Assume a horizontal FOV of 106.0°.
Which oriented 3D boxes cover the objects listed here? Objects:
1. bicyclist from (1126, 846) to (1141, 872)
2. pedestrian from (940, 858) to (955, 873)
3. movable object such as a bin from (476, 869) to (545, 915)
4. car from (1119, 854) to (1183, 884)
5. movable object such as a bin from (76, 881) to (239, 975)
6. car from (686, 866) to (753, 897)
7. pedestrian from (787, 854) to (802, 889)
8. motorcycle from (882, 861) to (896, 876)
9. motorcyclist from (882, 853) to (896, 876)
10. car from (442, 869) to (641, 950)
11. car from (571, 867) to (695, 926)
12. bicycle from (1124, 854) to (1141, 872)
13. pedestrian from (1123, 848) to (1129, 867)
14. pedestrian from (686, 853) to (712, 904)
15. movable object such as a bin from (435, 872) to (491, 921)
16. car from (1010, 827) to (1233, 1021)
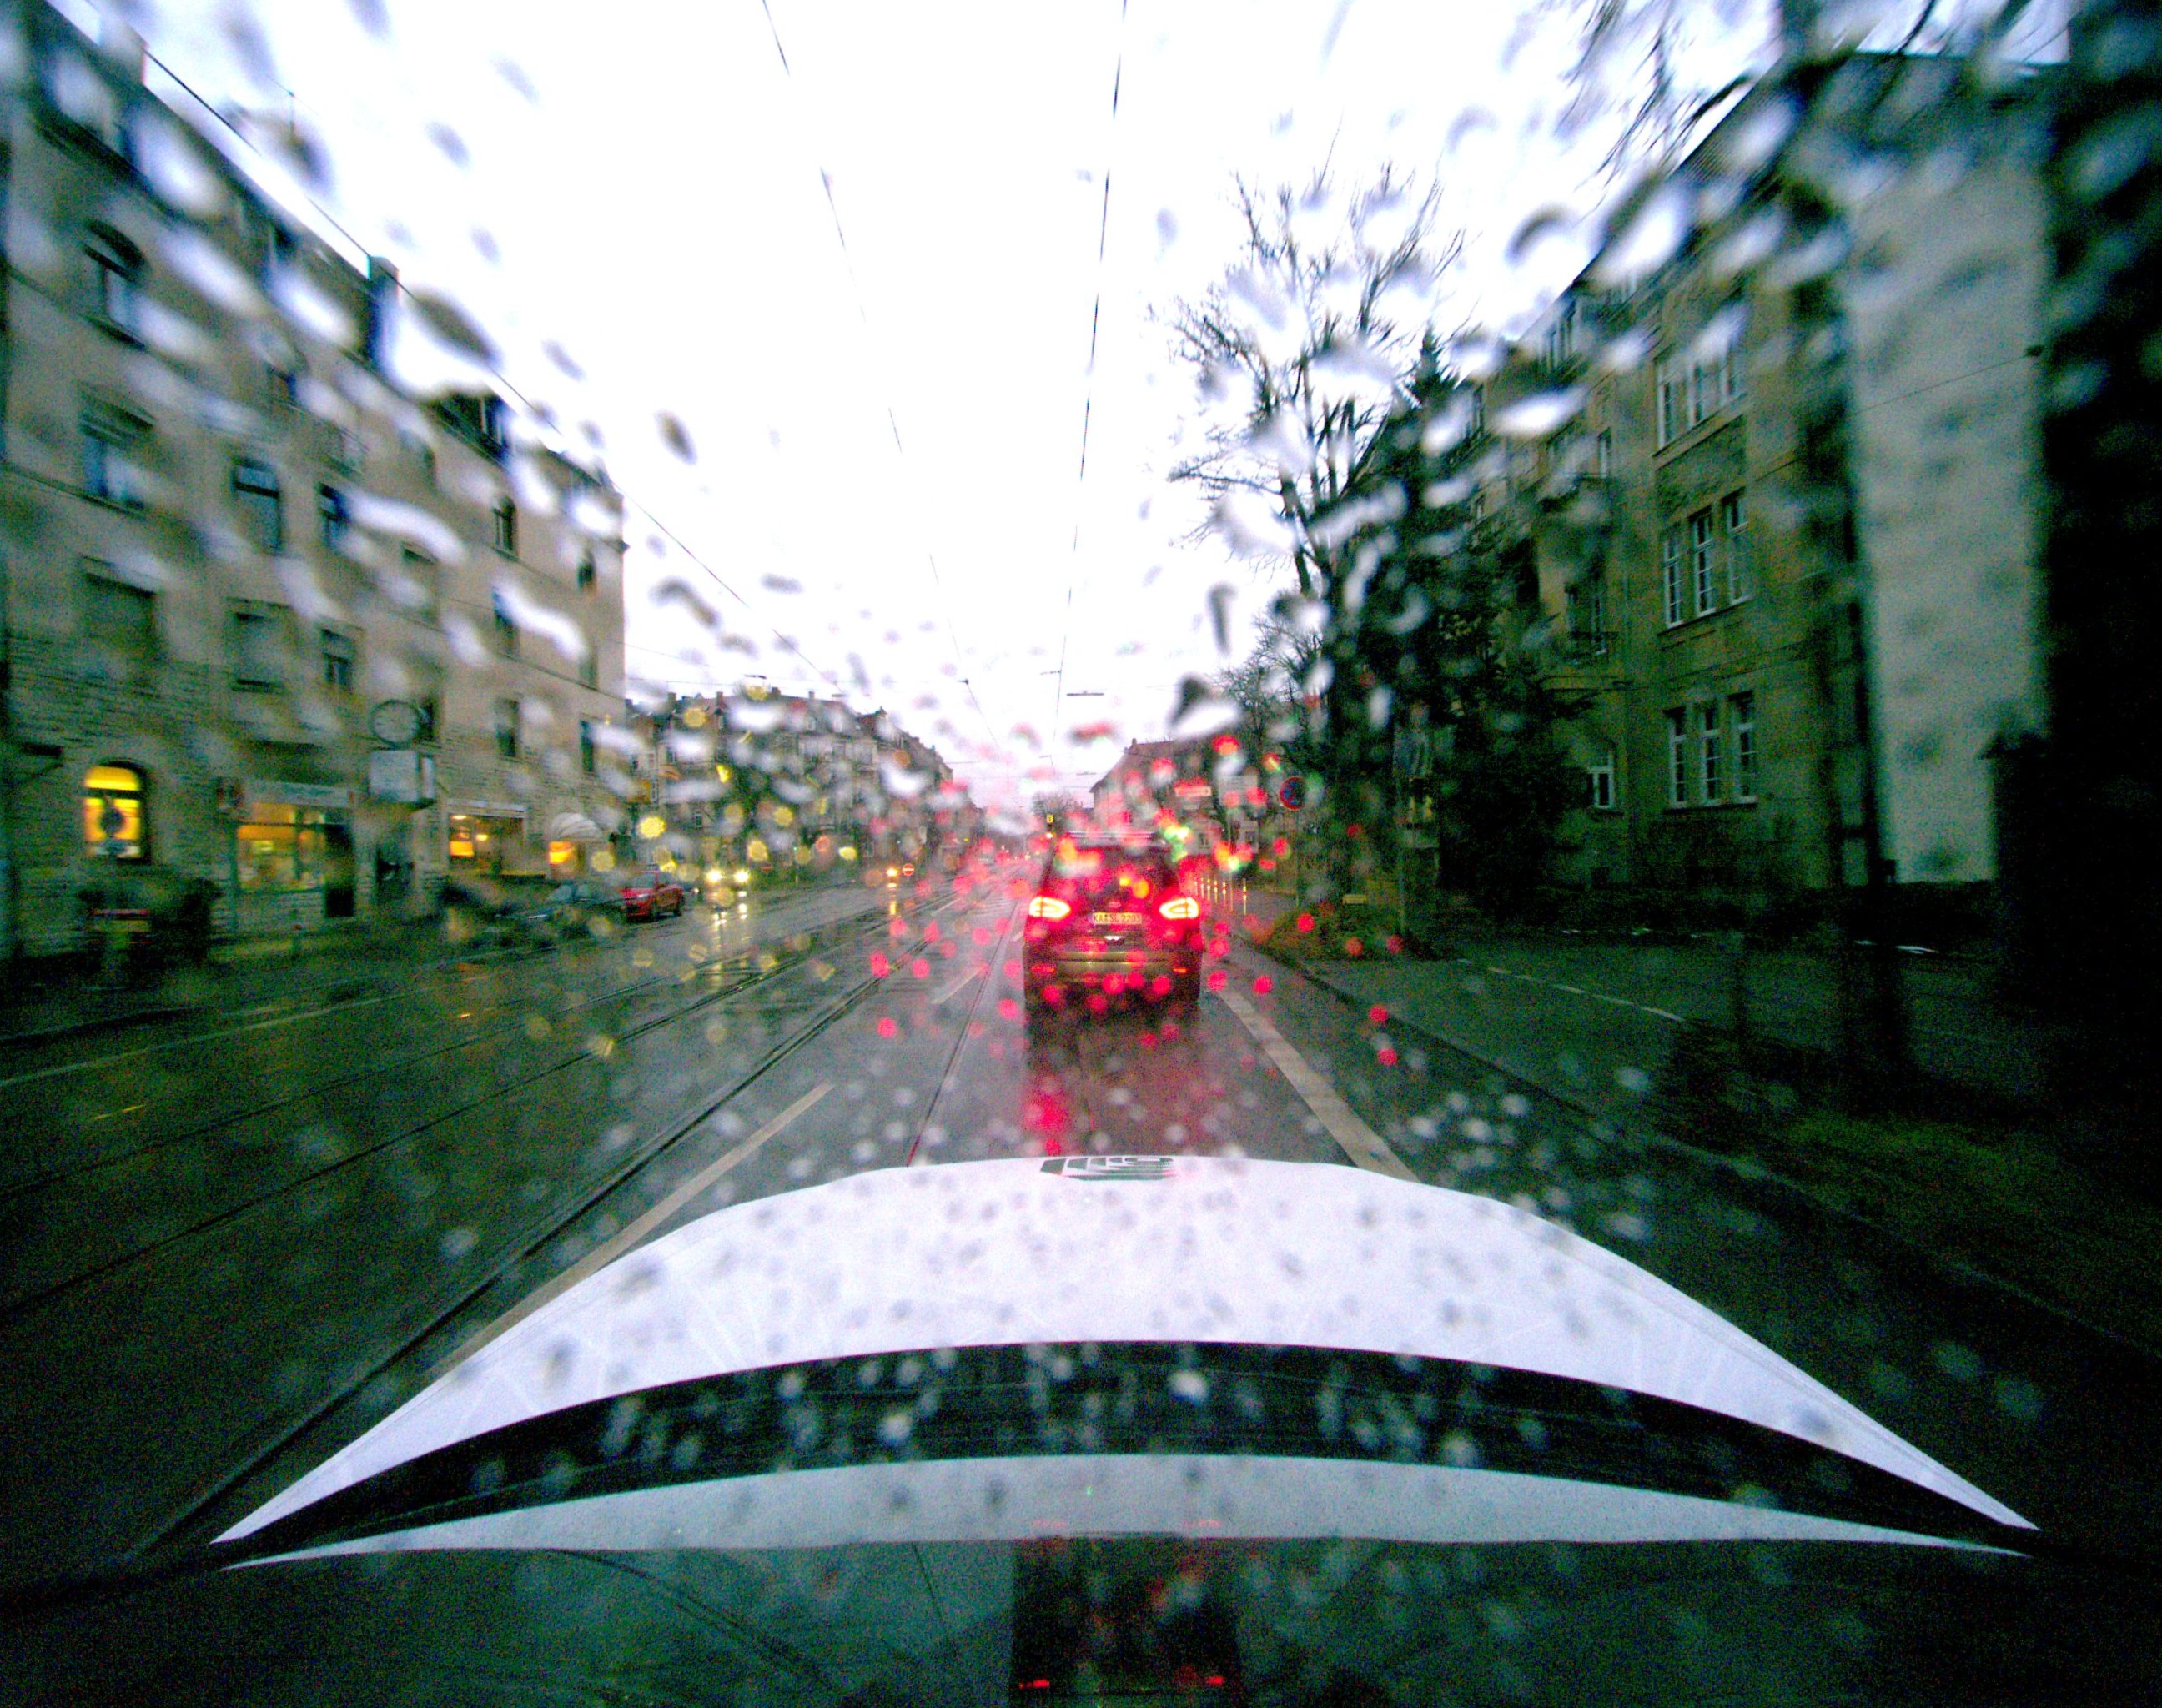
[{"bbox_3d":[3.361,0.305,52.450,0.716,1.662,1.054,2,0,-7],"label":"bicyclist"},{"bbox_3d":[-10.736,0.907,65.652,1.045,1.200,0.884,-1,-1,-2],"label":"pedestrian"},{"bbox_3d":[-17.958,1.188,25.670,1.291,1.367,1.251,-1,0,-3],"label":"movable object such as a bin"},{"bbox_3d":[3.512,0.716,40.300,1.649,1.376,4.024,-2,0,28],"label":"car"},{"bbox_3d":[-15.420,1.204,13.654,1.264,1.420,1.249,-1,0,-3],"label":"movable object such as a bin"},{"bbox_3d":[-21.453,1.611,48.259,3.948,1.673,2.035,-2,0,39],"label":"car"},{"bbox_3d":[-16.777,0.997,47.683,0.707,2.013,0.655,-2,0,-22],"label":"pedestrian"},{"bbox_3d":[-13.006,0.963,55.204,0.857,0.992,1.910,-2,0,-13],"label":"motorcycle"},{"bbox_3d":[-13.032,0.698,55.305,0.845,1.548,1.010,-2,0,-13],"label":"motorcyclist"},{"bbox_3d":[-12.825,1.237,19.820,1.983,1.645,4.622,3,-1,-5],"label":"car"},{"bbox_3d":[-13.915,1.276,25.585,2.036,1.552,4.021,2,0,-8],"label":"car"},{"bbox_3d":[3.337,0.586,52.541,0.716,1.112,1.937,2,0,-7],"label":"bicycle"},{"bbox_3d":[4.603,0.351,83.551,0.594,2.014,0.631,-1,-1,1],"label":"pedestrian"},{"bbox_3d":[-15.498,0.989,33.058,0.748,2.014,0.652,-2,-1,33],"label":"pedestrian"},{"bbox_3d":[-18.363,1.240,24.227,0.897,1.377,1.005,-1,0,-3],"label":"movable object such as a bin"},{"bbox_3d":[0.362,0.654,9.978,2.097,1.816,4.659,0,0,-1],"label":"car"}]
